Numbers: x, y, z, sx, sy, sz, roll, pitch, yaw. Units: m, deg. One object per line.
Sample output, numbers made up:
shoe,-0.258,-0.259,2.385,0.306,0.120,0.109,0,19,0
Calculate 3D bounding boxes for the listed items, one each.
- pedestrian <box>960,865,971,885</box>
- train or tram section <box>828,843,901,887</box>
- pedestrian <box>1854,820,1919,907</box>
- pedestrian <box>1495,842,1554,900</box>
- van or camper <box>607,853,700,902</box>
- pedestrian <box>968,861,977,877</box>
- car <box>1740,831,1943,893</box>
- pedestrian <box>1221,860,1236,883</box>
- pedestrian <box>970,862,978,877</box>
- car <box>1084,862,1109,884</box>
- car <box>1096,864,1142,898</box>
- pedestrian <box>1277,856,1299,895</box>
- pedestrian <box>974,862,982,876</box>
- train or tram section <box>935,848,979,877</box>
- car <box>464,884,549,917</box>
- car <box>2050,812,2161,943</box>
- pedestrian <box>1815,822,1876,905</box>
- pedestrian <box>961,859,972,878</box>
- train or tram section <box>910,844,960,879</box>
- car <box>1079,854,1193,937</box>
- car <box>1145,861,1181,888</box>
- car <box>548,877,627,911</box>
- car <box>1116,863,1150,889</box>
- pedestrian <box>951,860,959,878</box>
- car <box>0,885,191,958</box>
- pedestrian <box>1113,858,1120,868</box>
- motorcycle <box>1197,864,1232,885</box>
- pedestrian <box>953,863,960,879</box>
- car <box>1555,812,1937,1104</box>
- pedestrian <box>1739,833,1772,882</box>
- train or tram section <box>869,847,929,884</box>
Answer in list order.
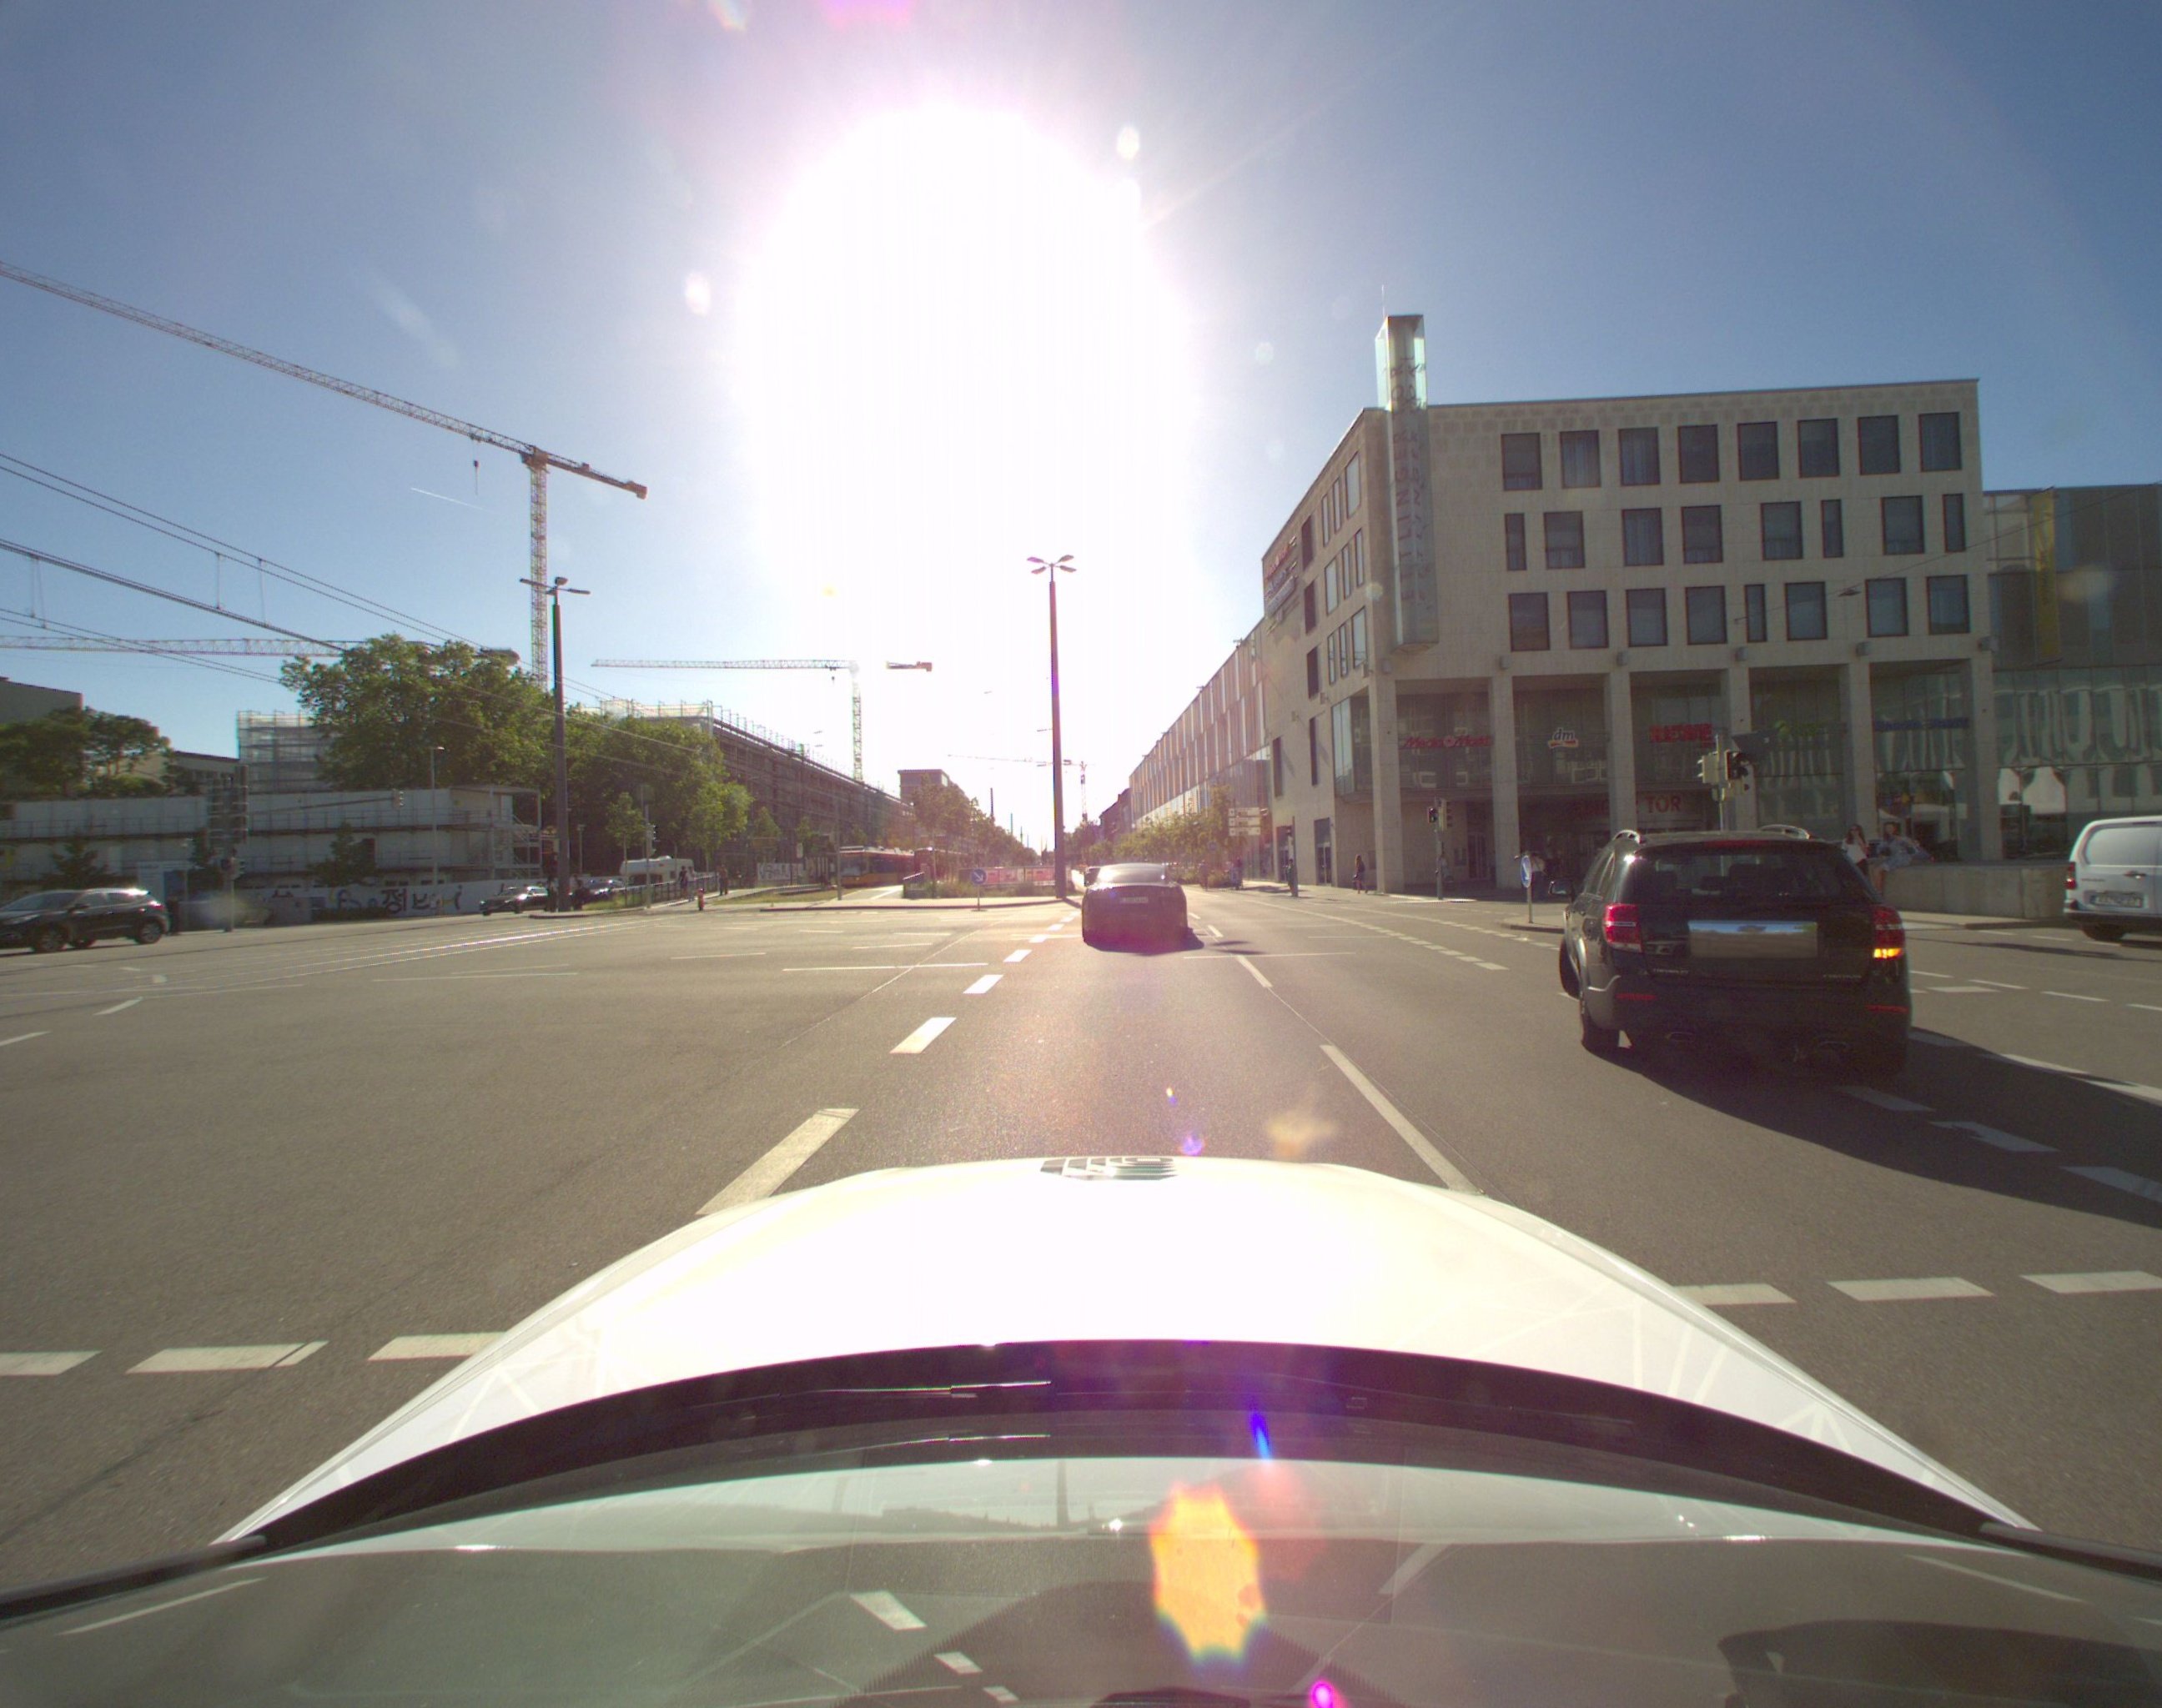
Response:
pedestrian,-9.505,1.725,67.013,0.739,1.628,0.861,-2,-1,-1
train or tram section,-17.420,0.894,66.706,2.863,3.310,13.062,0,-1,-2
pedestrian,15.678,0.186,15.857,0.660,1.612,0.525,-4,-1,-11
pedestrian,14.524,0.559,26.739,0.964,1.801,1.521,-4,-1,-2
van or camper,-28.357,1.524,54.416,2.599,2.937,7.333,-2,-1,-3
pedestrian,-11.222,1.568,84.388,0.739,1.628,0.861,-2,-1,-1
car,22.262,0.263,23.964,4.171,1.613,1.860,-2,-2,0
pedestrian,10.948,1.270,60.495,0.820,1.658,0.898,-1,-1,-6
pedestrian,-12.141,1.751,92.602,0.739,1.628,0.861,-2,-1,-1
car,1.224,1.445,64.361,1.881,1.596,4.000,-2,0,1
car,1.583,1.115,35.017,1.711,1.320,3.998,-1,0,-1
pedestrian,9.284,0.946,36.477,0.655,1.702,0.697,-4,-1,-4
pedestrian,-12.135,1.733,95.790,0.739,1.628,0.861,-2,-1,-1
train or tram section,-15.374,1.088,102.900,2.863,3.280,22.125,0,-1,-2
car,-31.729,2.529,45.171,1.994,1.561,4.812,-2,-1,-11
car,16.282,0.265,11.247,4.146,1.734,1.785,-1,-1,-8
pedestrian,15.442,0.191,16.466,0.660,1.612,0.525,-4,-1,-11
pedestrian,-11.725,1.473,83.361,0.884,1.851,1.006,-2,-1,-2
train or tram section,-14.832,0.827,84.270,2.863,3.280,15.172,0,-1,-2
car,0.972,0.763,16.604,1.993,1.434,4.411,-1,-1,0
car,5.005,1.206,50.070,1.779,1.546,4.037,-1,0,-1
car,-27.868,2.248,46.163,1.941,1.707,4.362,-2,-1,-3
car,3.095,1.315,49.266,1.711,1.432,3.998,-1,0,-1
pedestrian,-12.473,1.481,80.654,0.670,1.811,1.074,-2,-1,-3
car,-27.918,1.791,22.515,1.992,1.707,4.548,-2,-1,-8
pedestrian,7.071,1.799,161.973,1.093,1.863,1.521,-2,-1,-3
motorcycle,9.090,1.414,55.556,2.180,1.324,0.903,-3,-1,2
pedestrian,-11.616,1.584,76.006,0.646,1.512,0.587,0,0,-5
car,5.246,0.614,7.107,1.767,1.699,4.439,-2,-1,29
pedestrian,26.791,0.142,32.343,0.638,1.907,0.735,-2,-1,-24
train or tram section,-17.839,1.083,81.201,2.840,3.321,15.953,0,-1,-2
